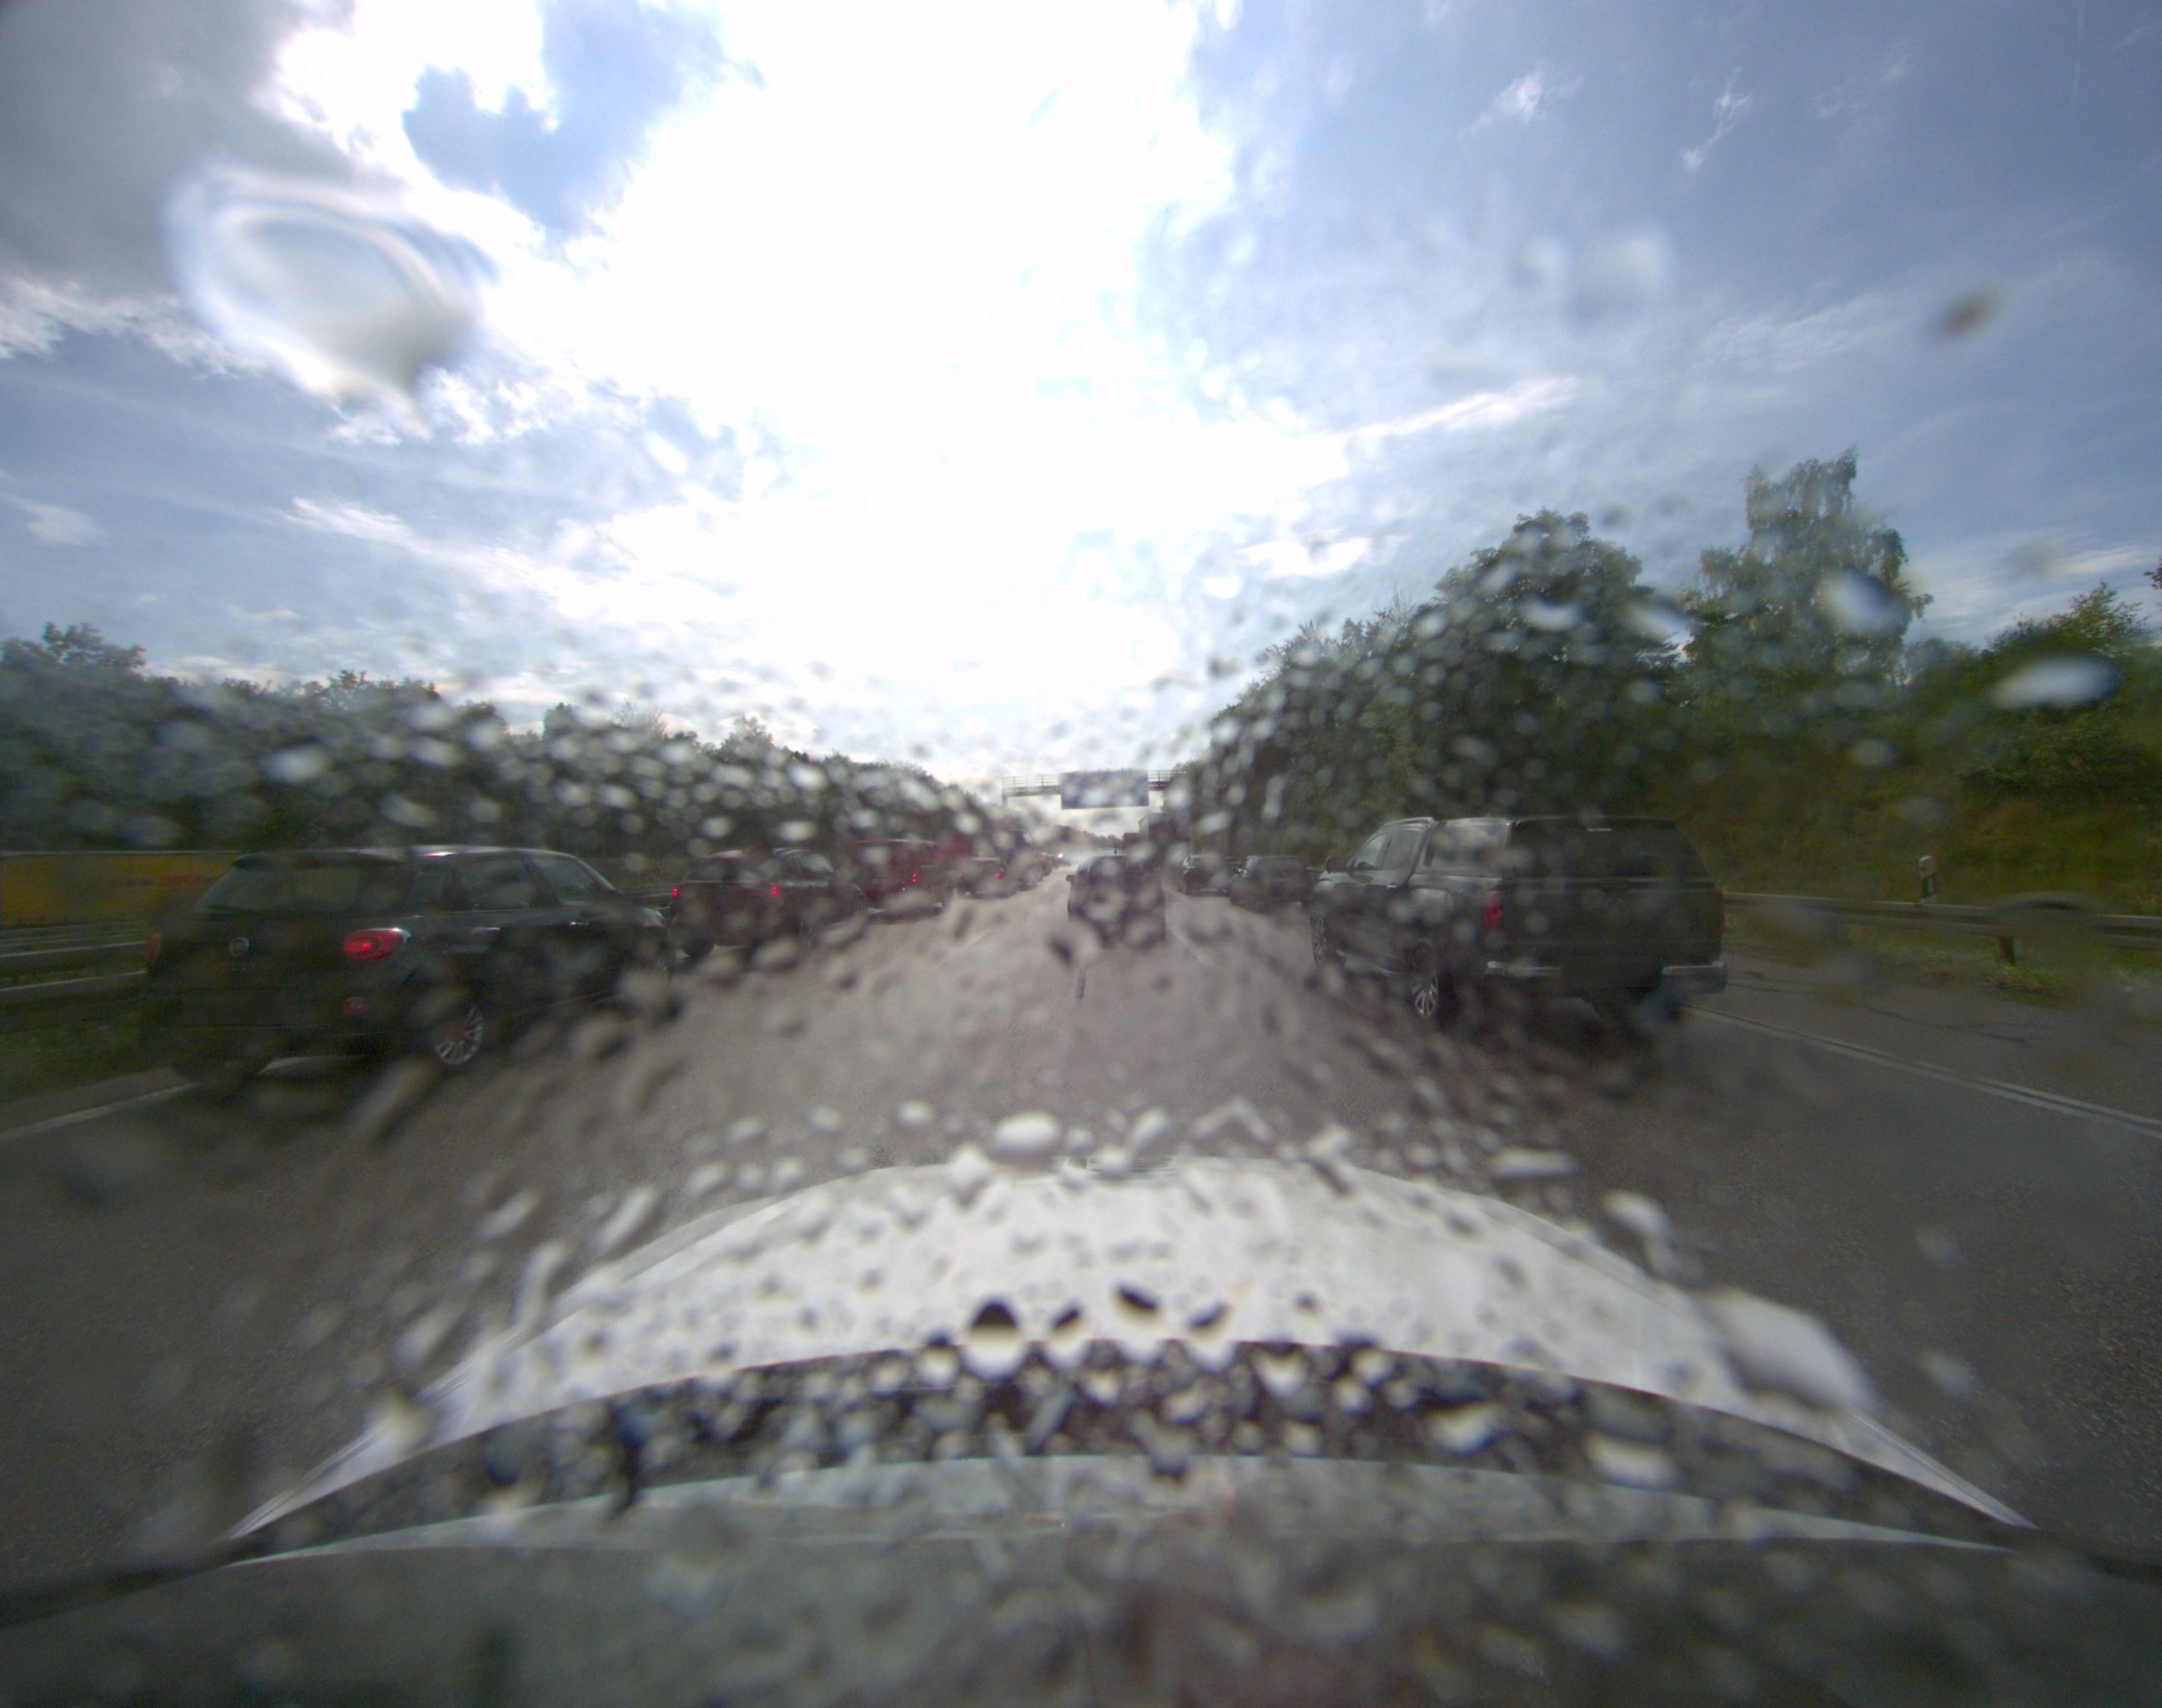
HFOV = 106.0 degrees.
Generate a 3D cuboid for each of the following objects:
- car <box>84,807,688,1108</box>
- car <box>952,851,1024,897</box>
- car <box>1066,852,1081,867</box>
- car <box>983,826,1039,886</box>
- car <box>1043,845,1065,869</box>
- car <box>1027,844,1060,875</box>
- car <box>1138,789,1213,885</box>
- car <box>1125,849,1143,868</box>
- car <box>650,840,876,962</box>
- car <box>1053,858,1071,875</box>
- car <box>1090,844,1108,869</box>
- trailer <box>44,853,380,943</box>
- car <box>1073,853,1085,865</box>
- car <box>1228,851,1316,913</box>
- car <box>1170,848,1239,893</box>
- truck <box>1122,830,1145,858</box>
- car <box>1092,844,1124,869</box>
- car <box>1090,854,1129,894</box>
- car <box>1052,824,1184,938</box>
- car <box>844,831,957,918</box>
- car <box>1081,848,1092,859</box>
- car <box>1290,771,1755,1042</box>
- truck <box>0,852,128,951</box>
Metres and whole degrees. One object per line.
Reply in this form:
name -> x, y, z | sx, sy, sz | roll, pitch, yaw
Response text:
car -> -5.174, 0.635, 6.929 | 1.687, 1.805, 3.976 | -1, 0, 0
car -> -3.419, 0.714, 30.783 | 1.986, 1.564, 4.758 | -1, 0, 2
car -> -1.135, 0.816, 119.744 | 1.986, 2.115, 4.891 | -1, 0, 2
car -> -3.206, 0.119, 38.236 | 1.986, 2.615, 5.262 | -1, 0, 2
car -> -2.775, 0.333, 85.341 | 1.986, 2.385, 5.262 | -1, 0, 2
car -> -2.643, 0.360, 58.395 | 1.986, 2.115, 4.891 | -1, 0, 2
car -> 6.346, -1.001, 58.279 | 4.385, 5.830, 16.833 | -1, 0, 4
car -> 6.134, 0.555, 95.231 | 1.986, 2.115, 4.891 | -1, 0, 2
car -> -5.097, 0.676, 13.868 | 1.902, 1.636, 4.617 | -3, 0, 1
car -> -2.336, 1.523, 100.390 | 1.986, 2.115, 4.891 | -1, 0, 2
car -> 2.033, 0.324, 91.606 | 1.986, 2.746, 5.262 | -1, 0, 2
trailer -> -44.950, 2.044, 43.145 | 3.760, 4.117, 11.771 | -1, 0, 15
car -> -0.370, 0.911, 146.021 | 1.986, 2.115, 4.891 | -1, 0, 2
car -> 5.040, 0.695, 21.928 | 1.584, 1.516, 3.978 | -1, 0, 3
car -> 4.434, 0.583, 29.750 | 1.859, 1.516, 3.974 | -1, 0, -1
truck -> 6.980, -1.311, 108.685 | 2.765, 3.631, 5.919 | -1, 0, 2
car -> 1.687, 0.175, 52.033 | 1.859, 1.516, 3.974 | -1, 0, -1
car -> 1.340, 0.910, 39.001 | 1.687, 1.805, 3.975 | -1, 0, 0
car -> 0.642, 0.486, 16.497 | 2.267, 1.954, 4.820 | -1, 0, 0
car -> -4.684, 0.504, 21.909 | 1.972, 2.054, 4.755 | -1, 0, 0
car -> 1.130, -0.064, 169.788 | 1.986, 2.115, 4.891 | -1, 0, 2
car -> 3.880, 0.390, 8.644 | 1.935, 1.919, 5.652 | -1, 0, 1
truck -> -47.125, 2.014, 34.962 | 3.760, 4.117, 7.073 | -1, 0, 15
